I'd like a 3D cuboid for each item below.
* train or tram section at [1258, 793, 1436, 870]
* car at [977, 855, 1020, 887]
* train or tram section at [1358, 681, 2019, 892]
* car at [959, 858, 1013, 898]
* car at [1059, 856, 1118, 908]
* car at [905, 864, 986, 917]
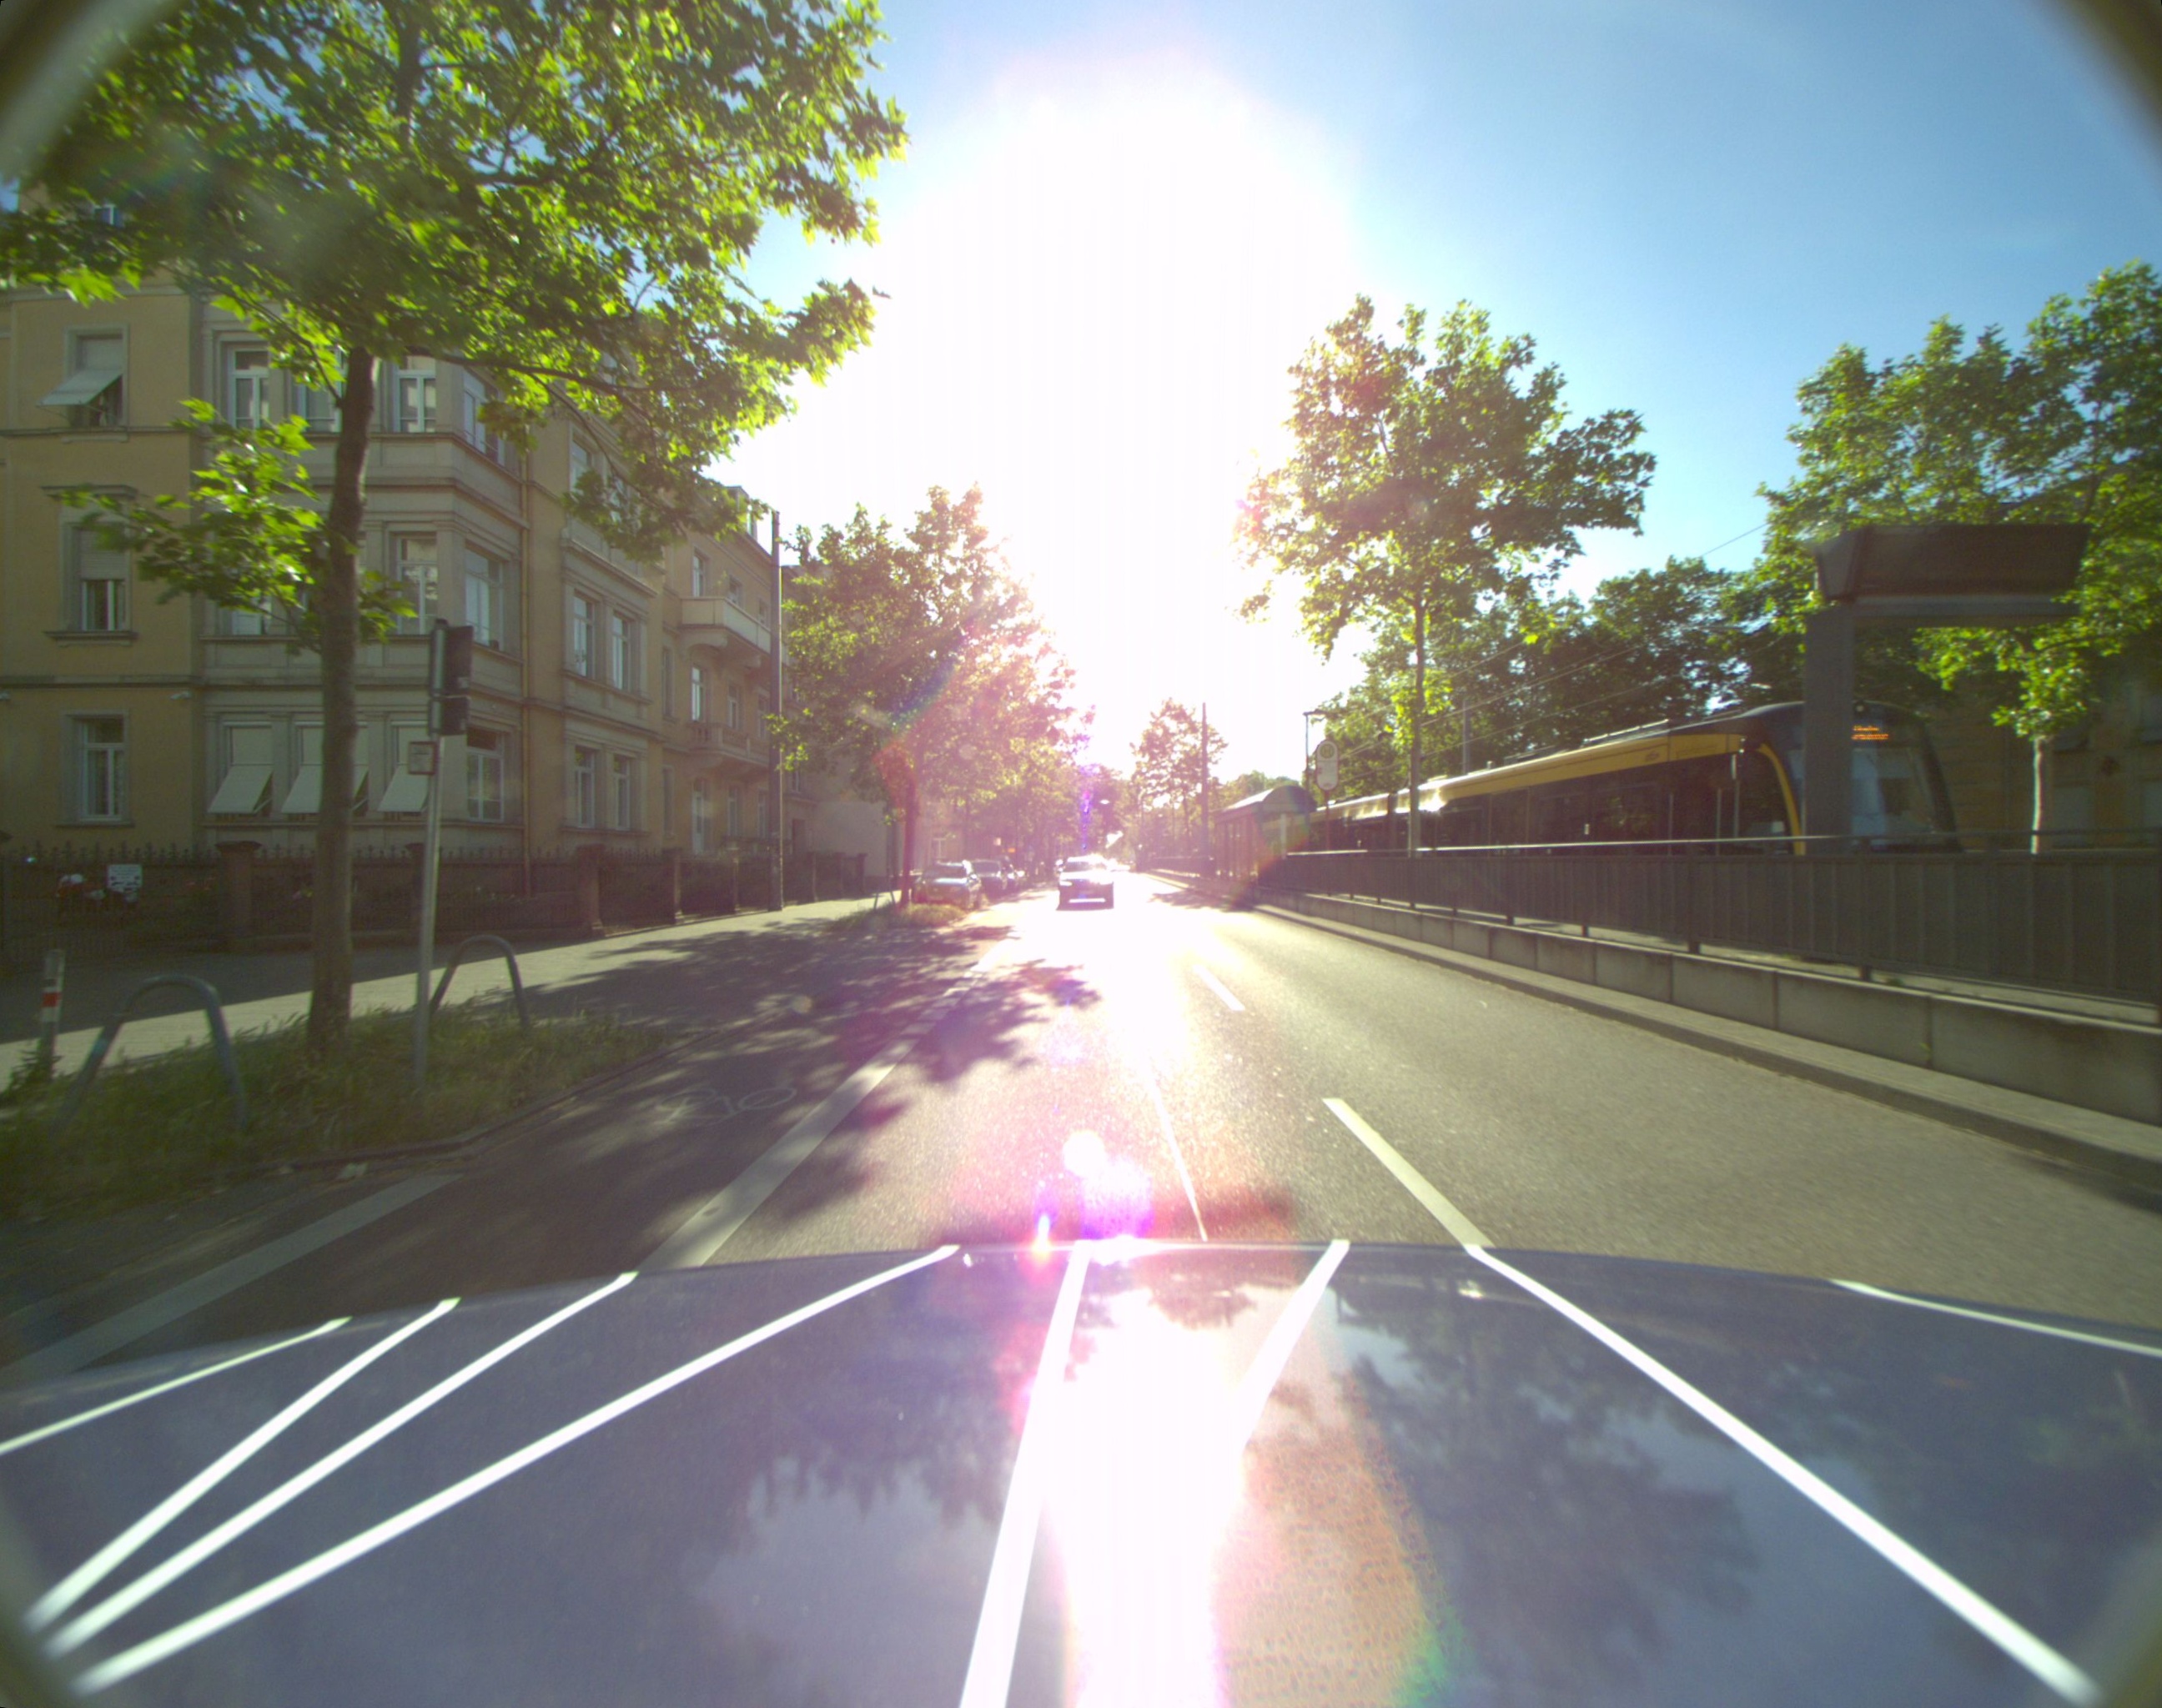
[{"bbox_3d":[10.467,-0.698,32.442,2.569,2.516,15.074,0,0,1],"label":"train or tram section"},{"bbox_3d":[-4.485,0.884,41.865,1.839,1.666,4.274,0,0,1],"label":"car"},{"bbox_3d":[10.232,-0.778,17.068,2.569,2.549,15.676,0,0,1],"label":"train or tram section"},{"bbox_3d":[-4.211,1.034,34.222,1.839,1.666,4.274,-1,0,1],"label":"car"},{"bbox_3d":[0.269,0.933,27.270,1.914,1.695,4.273,-1,0,1],"label":"car"},{"bbox_3d":[-4.358,1.122,25.087,1.839,1.555,4.274,-1,0,1],"label":"car"}]
